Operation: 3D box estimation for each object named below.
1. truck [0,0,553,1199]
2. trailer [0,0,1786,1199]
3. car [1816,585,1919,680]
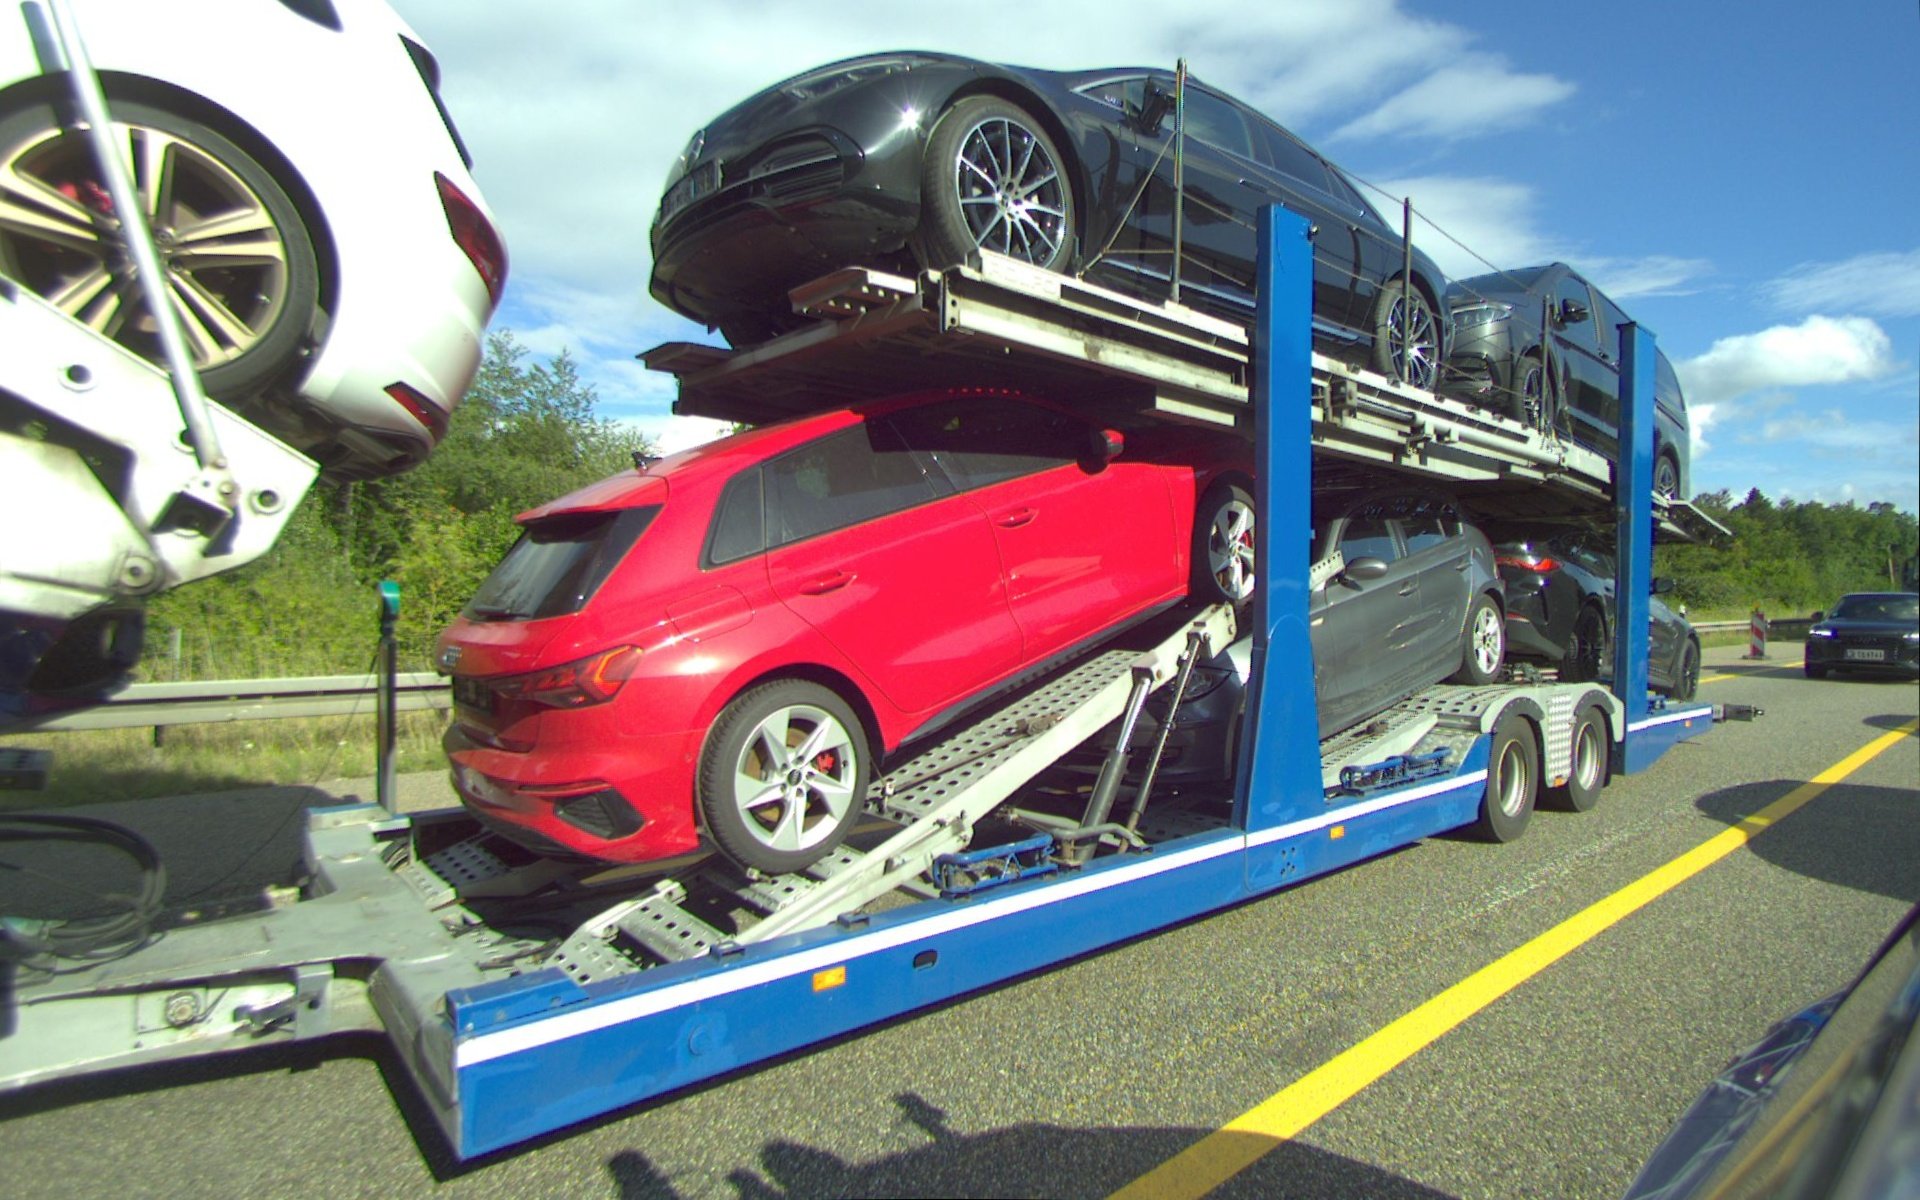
[{"bbox_3d":[-5.069,-0.657,1.128,7.811,4.249,3.768,-1,0,-40],"label":"truck"},{"bbox_3d":[1.200,-0.823,6.546,15.943,4.249,3.733,-1,0,-41],"label":"trailer"},{"bbox_3d":[17.588,0.528,18.942,4.219,1.622,1.781,-1,0,-41],"label":"car"}]
